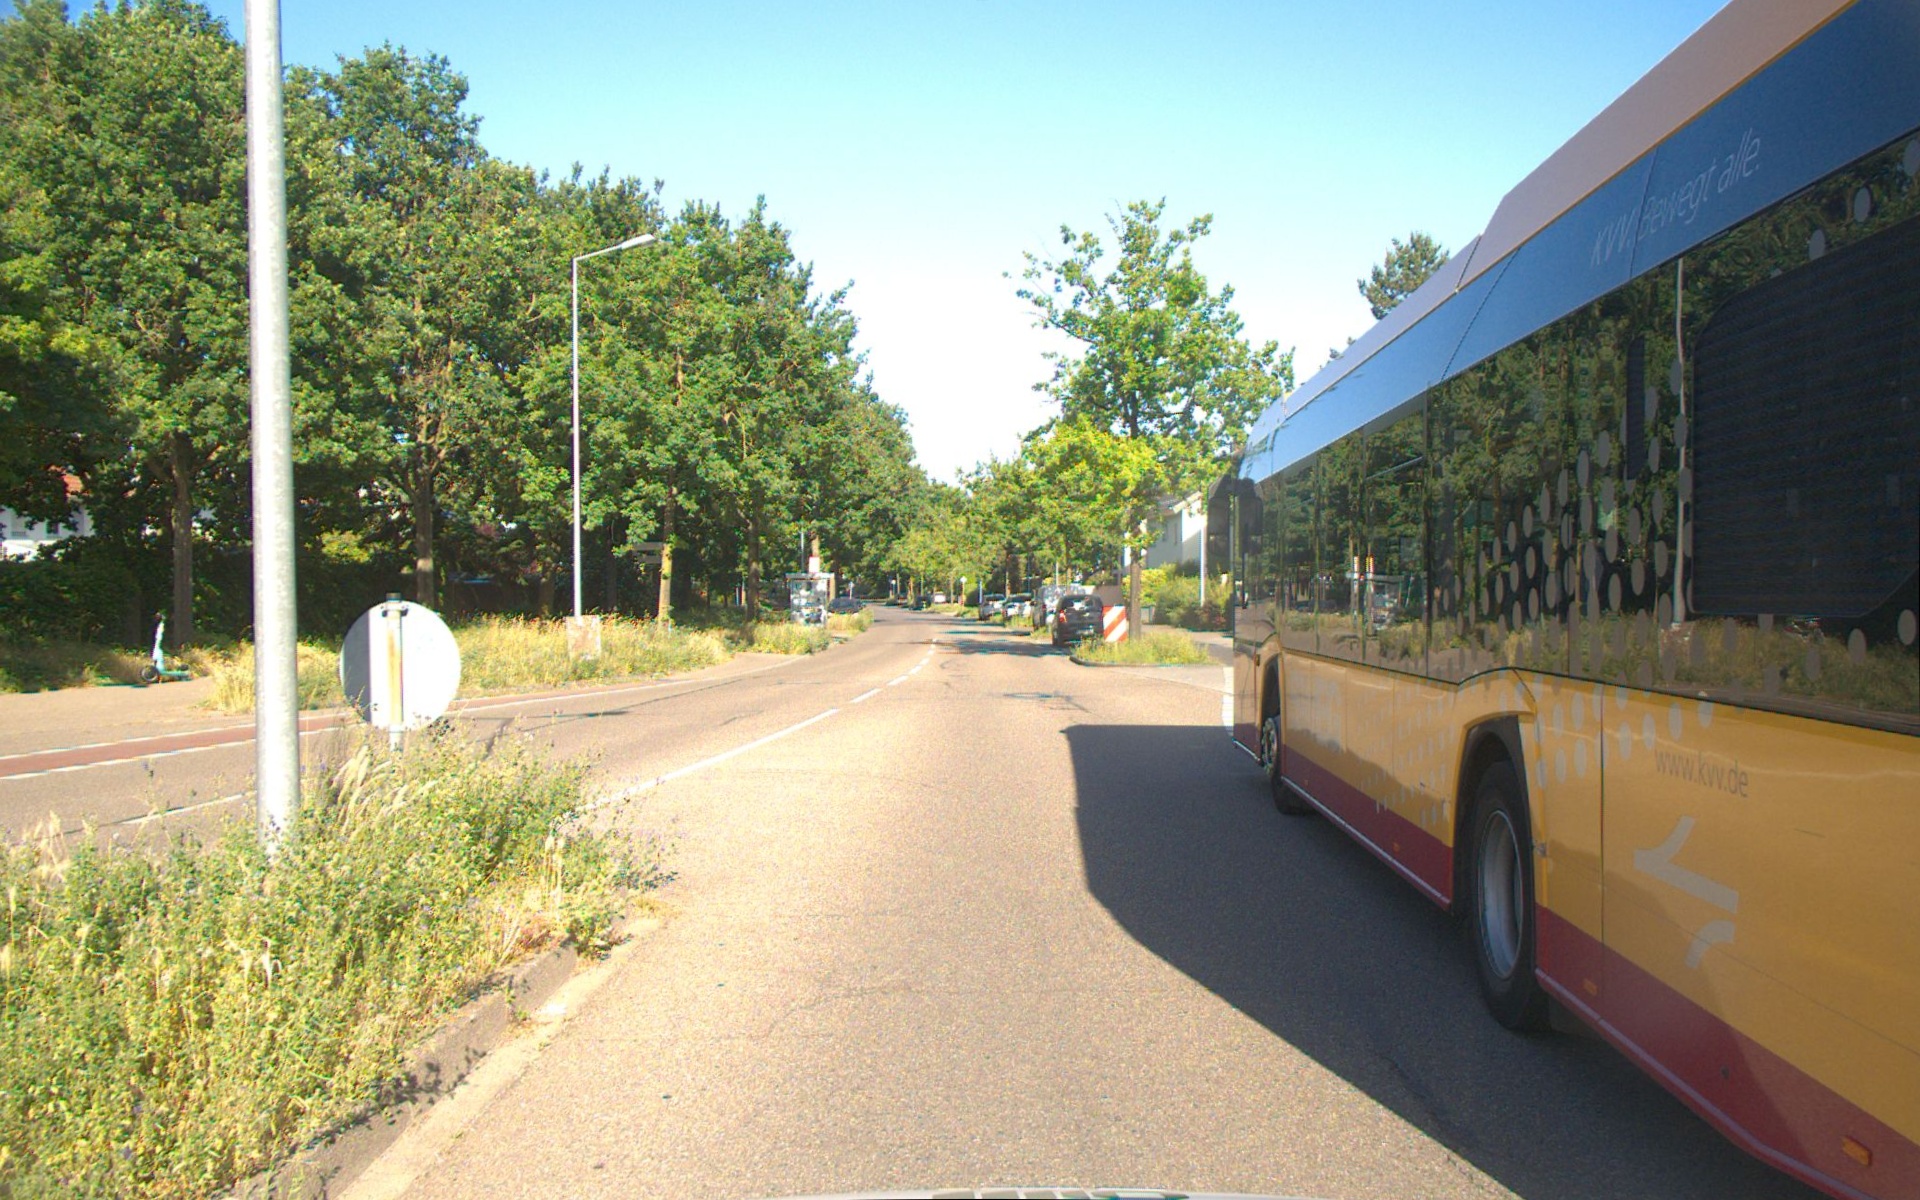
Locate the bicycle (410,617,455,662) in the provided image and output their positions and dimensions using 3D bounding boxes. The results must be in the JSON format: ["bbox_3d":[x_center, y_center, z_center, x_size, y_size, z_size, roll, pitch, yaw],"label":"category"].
[{"bbox_3d":[-13.210,0.970,41.461,0.495,1.072,1.880,-1,0,1],"label":"bicycle"}]

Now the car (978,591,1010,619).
[{"bbox_3d":[2.211,0.301,108.646,1.894,1.773,3.998,0,0,-2],"label":"car"}]

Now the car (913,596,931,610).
[{"bbox_3d":[-4.071,0.320,177.666,1.894,1.569,3.998,0,0,-2],"label":"car"}]

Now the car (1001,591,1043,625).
[{"bbox_3d":[3.206,0.400,86.118,1.897,1.734,3.998,0,0,-2],"label":"car"}]

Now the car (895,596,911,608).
[{"bbox_3d":[-7.018,0.258,202.422,1.895,1.479,3.997,0,0,-4],"label":"car"}]

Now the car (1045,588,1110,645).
[{"bbox_3d":[3.536,0.467,50.395,1.638,1.606,3.751,-2,0,0],"label":"car"}]

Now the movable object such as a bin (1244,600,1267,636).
[{"bbox_3d":[9.004,0.554,50.406,0.591,1.088,0.646,0,0,-1],"label":"movable object such as a bin"}]

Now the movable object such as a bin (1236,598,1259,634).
[{"bbox_3d":[8.910,0.491,51.210,0.591,1.088,0.567,0,0,-1],"label":"movable object such as a bin"}]

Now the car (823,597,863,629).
[{"bbox_3d":[-5.763,0.633,81.533,1.897,1.505,3.997,0,0,-4],"label":"car"}]

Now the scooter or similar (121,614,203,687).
[{"bbox_3d":[-14.415,0.897,29.901,0.527,1.240,1.414,1,2,16],"label":"scooter or similar"}]

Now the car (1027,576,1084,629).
[{"bbox_3d":[3.770,0.089,66.031,1.799,2.005,4.756,0,0,-2],"label":"car"}]

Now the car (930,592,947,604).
[{"bbox_3d":[-2.683,-0.280,203.845,1.895,1.479,3.997,0,0,-4],"label":"car"}]

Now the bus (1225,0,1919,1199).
[{"bbox_3d":[3.259,-0.404,8.492,2.699,3.519,12.404,-1,-1,5],"label":"bus"}]

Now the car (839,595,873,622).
[{"bbox_3d":[-6.263,0.502,99.323,1.954,1.584,3.996,1,0,-5],"label":"car"}]
